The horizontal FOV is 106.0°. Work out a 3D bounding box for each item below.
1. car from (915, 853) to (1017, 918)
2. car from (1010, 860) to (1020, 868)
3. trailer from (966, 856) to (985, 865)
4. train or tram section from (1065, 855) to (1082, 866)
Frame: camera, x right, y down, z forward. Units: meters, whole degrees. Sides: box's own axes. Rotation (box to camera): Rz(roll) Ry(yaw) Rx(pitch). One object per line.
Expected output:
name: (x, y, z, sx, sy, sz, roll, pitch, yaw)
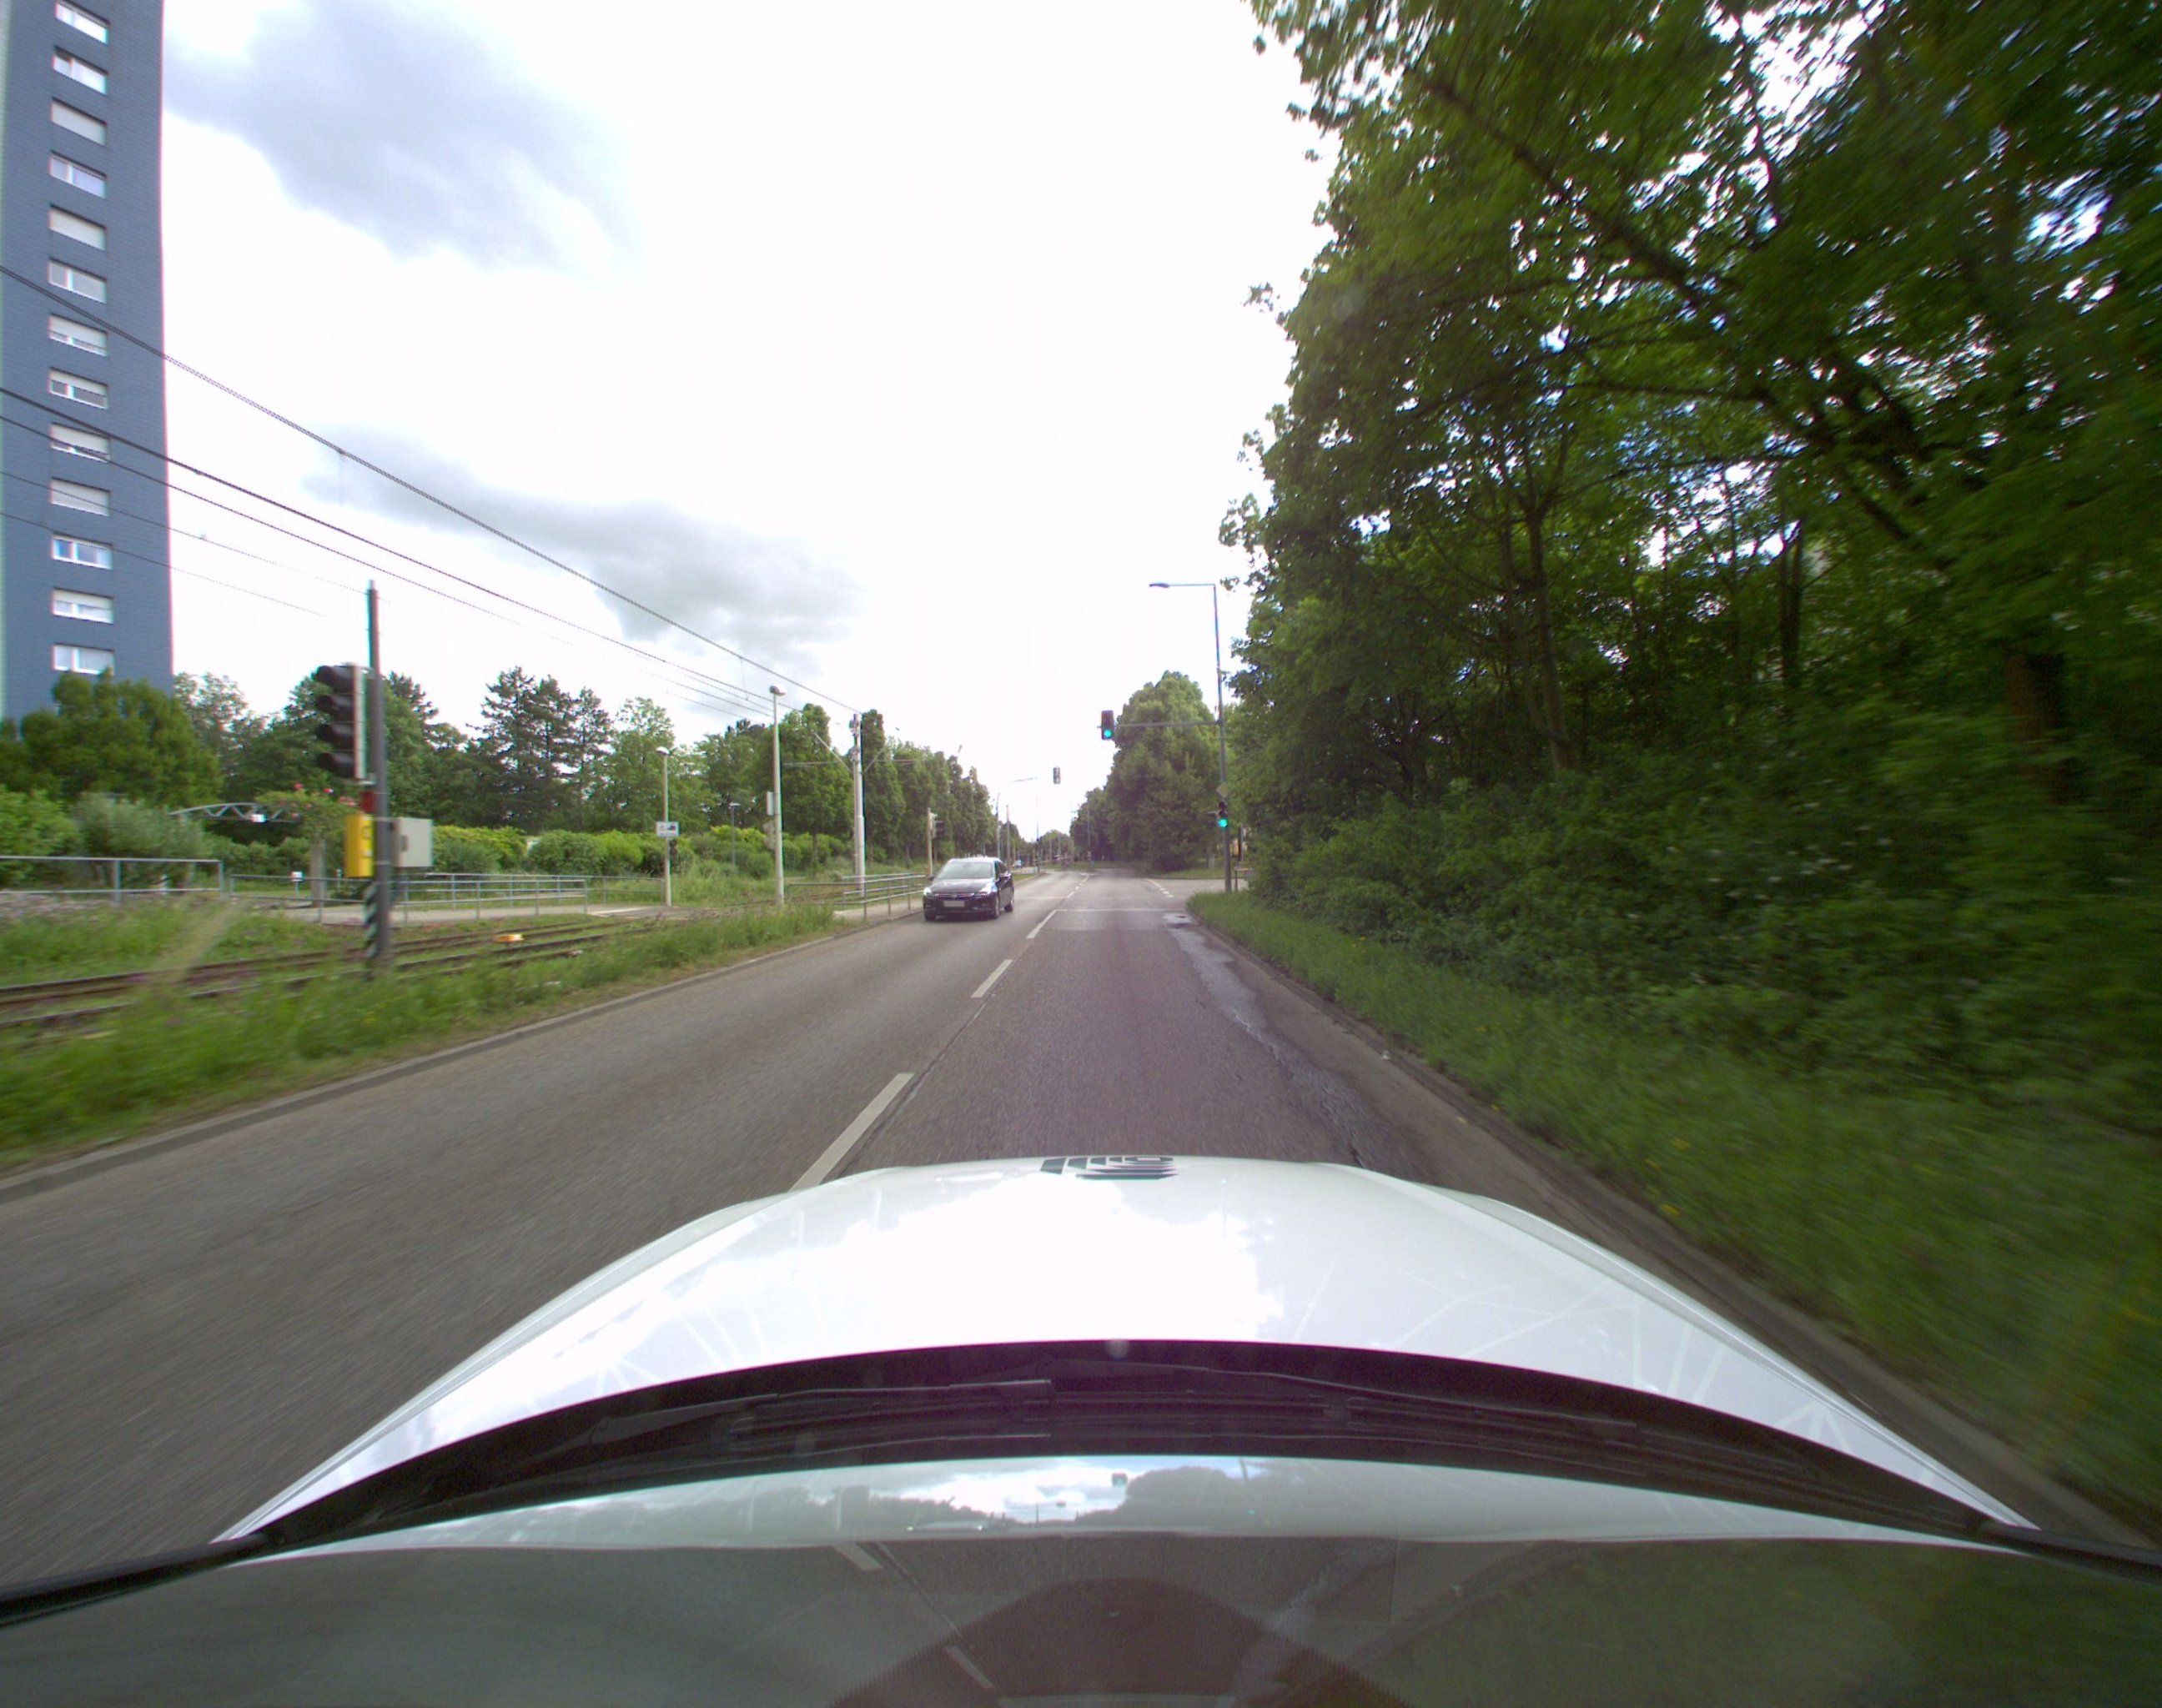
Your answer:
car: (-2.791, 0.719, 20.767, 1.843, 1.470, 4.258, -1, 0, 2)
car: (-13.684, 2.093, 169.501, 1.861, 1.521, 4.238, -1, 0, 0)
trailer: (-23.865, 1.473, 184.974, 3.973, 2.014, 1.908, -1, -1, 1)
train or tram section: (-2.551, 2.180, 259.553, 3.002, 3.311, 34.652, -1, -1, -4)
